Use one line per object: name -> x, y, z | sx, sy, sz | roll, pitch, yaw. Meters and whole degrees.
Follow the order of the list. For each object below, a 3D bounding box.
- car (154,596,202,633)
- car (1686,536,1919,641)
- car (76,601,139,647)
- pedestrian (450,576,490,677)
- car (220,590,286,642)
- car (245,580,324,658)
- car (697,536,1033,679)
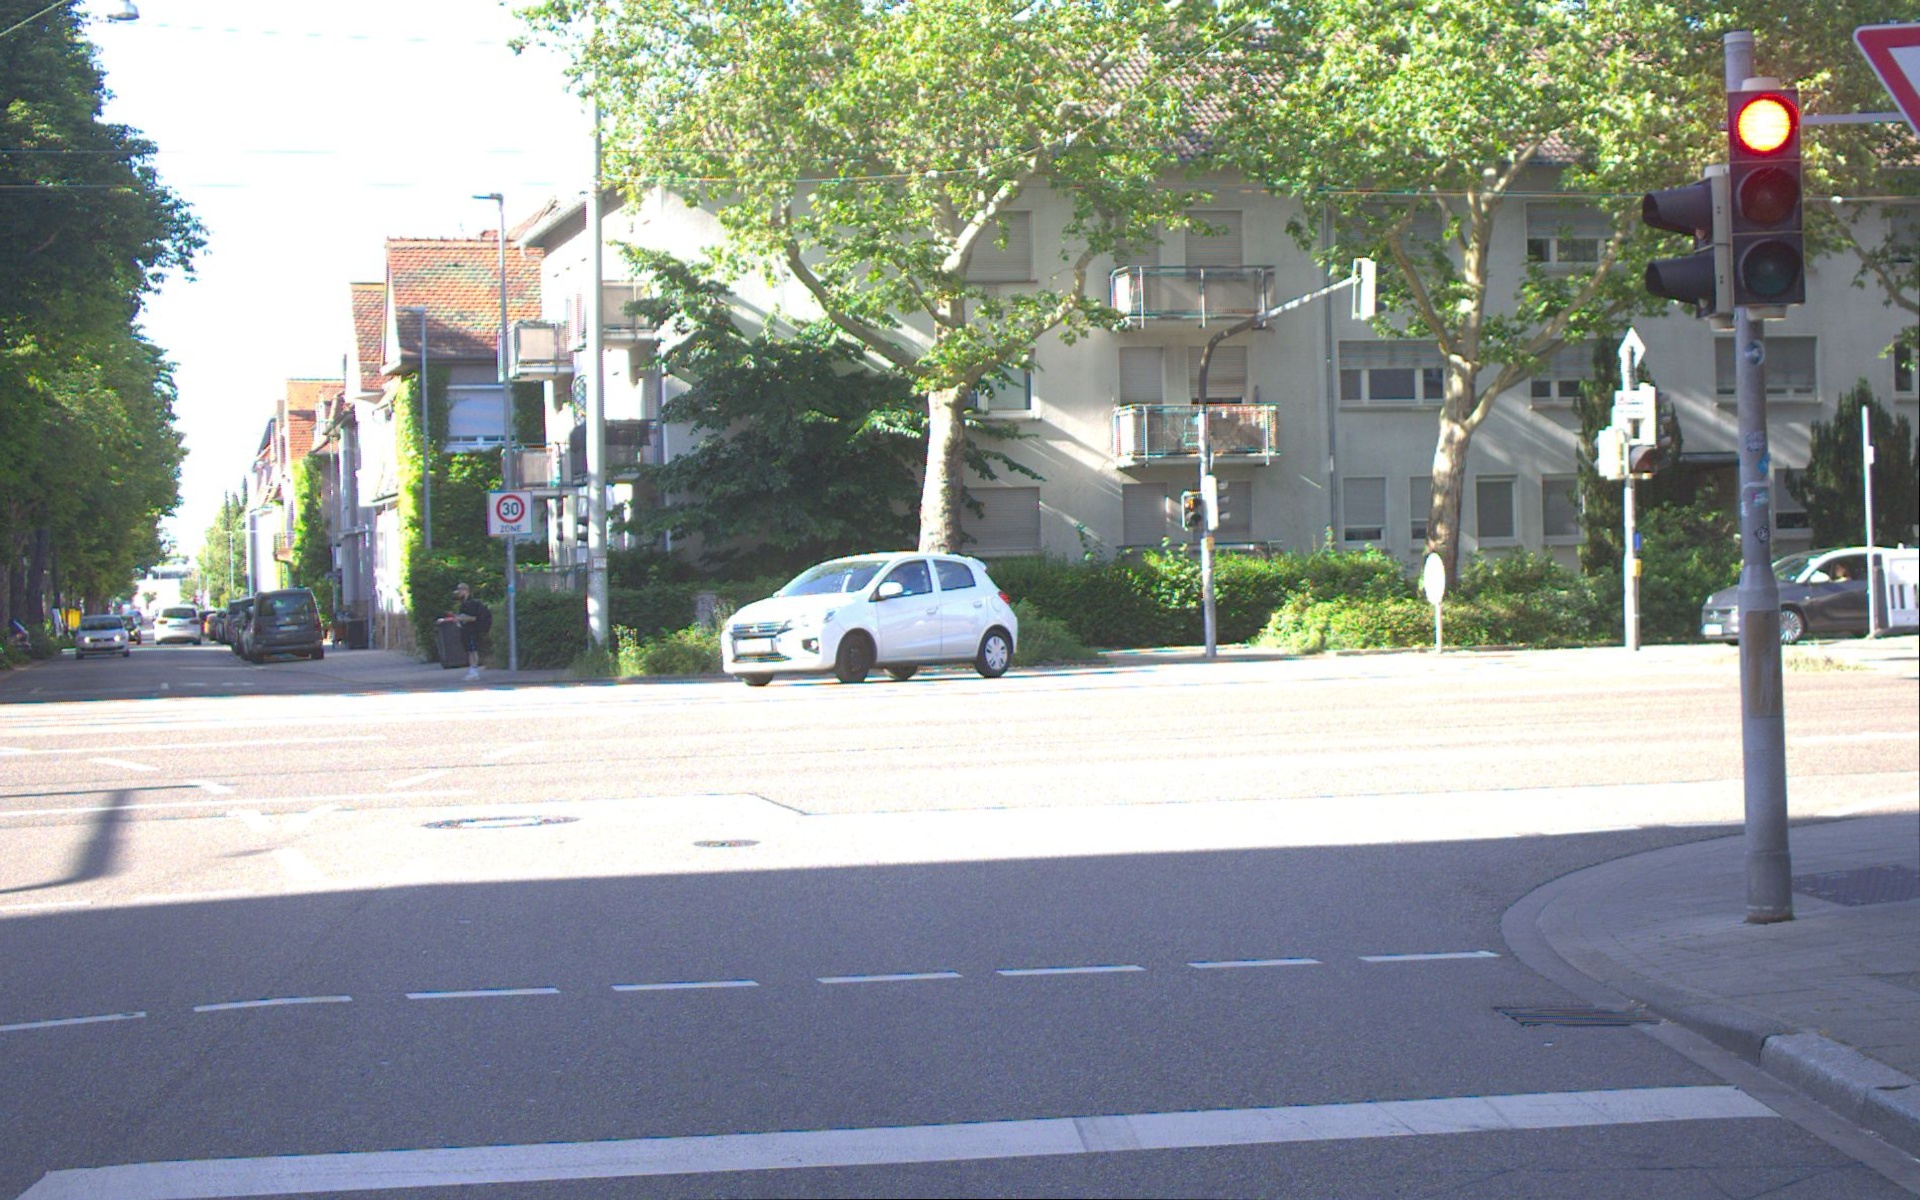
car -> -32.413, 0.584, 142.493 | 1.673, 1.477, 3.523 | -1, 0, -9
car -> 13.123, -0.187, 53.197 | 3.379, 1.482, 1.525 | -2, 1, -22
car -> -29.034, 0.809, 117.057 | 1.993, 1.441, 4.001 | -2, 1, -15
pedestrian -> -8.568, 0.464, 60.171 | 0.633, 1.744, 0.659 | -1, 0, -4
car -> -25.762, 0.567, 125.185 | 1.993, 1.826, 4.001 | -1, 0, -16
car -> -18.581, 0.505, 94.701 | 1.993, 2.007, 4.001 | -2, 1, -10
car -> -1.042, 0.069, 39.241 | 1.628, 1.467, 3.790 | -1, 1, 42
